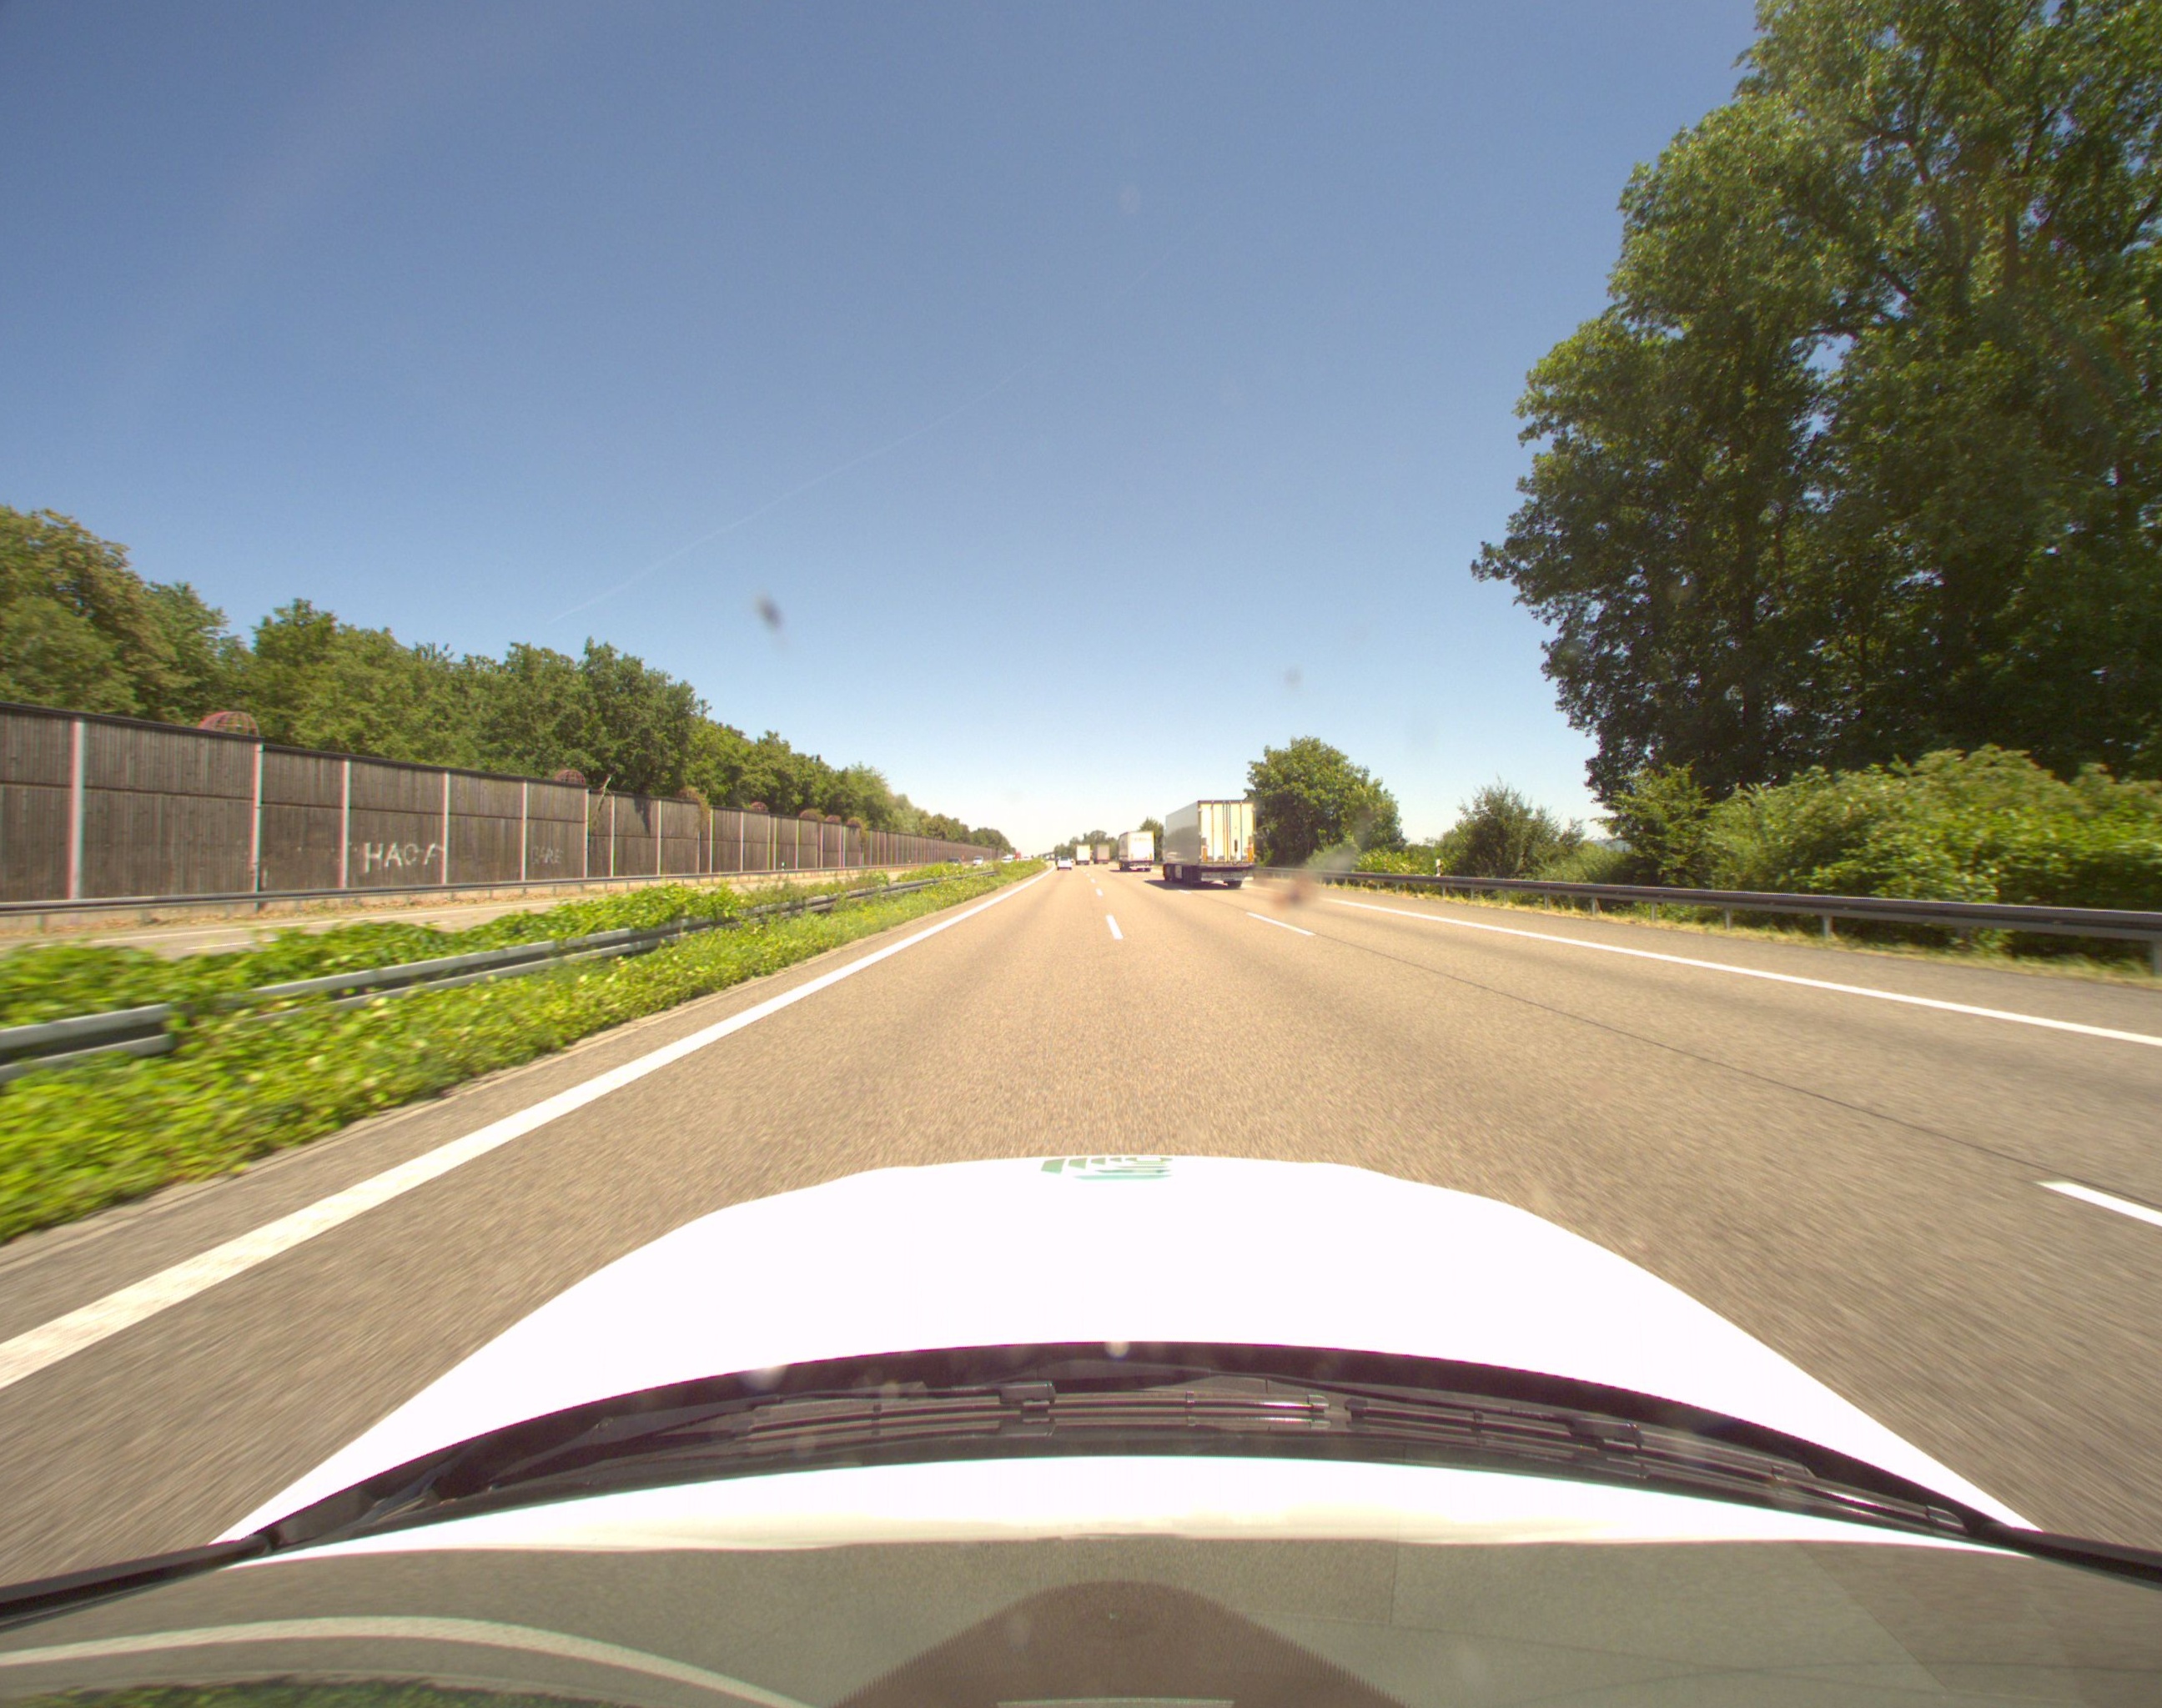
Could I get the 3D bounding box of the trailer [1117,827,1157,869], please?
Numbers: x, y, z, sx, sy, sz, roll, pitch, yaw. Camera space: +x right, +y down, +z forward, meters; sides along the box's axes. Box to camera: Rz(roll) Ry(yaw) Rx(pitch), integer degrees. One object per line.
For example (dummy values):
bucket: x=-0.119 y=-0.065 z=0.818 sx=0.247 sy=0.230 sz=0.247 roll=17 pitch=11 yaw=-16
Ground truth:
trailer: x=5.821 y=-0.503 z=87.272 sx=2.700 sy=4.088 sz=14.138 roll=0 pitch=0 yaw=-2

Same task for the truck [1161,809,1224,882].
truck: x=6.615 y=-0.484 z=49.231 sx=2.949 sy=4.106 sz=6.207 roll=-1 pitch=0 yaw=0

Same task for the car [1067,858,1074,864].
car: x=-2.778 y=1.869 z=223.591 sx=1.849 sy=1.617 sz=3.999 roll=-1 pitch=-1 yaw=0

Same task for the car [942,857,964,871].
car: x=-14.779 y=1.149 z=94.485 sx=1.989 sy=1.647 sz=4.688 roll=-1 pitch=0 yaw=-3

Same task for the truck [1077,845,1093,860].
truck: x=1.165 y=-0.399 z=252.783 sx=3.370 sy=4.304 sz=11.425 roll=3 pitch=-1 yaw=-6

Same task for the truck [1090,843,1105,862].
truck: x=3.706 y=-0.240 z=184.535 sx=2.686 sy=4.216 sz=7.825 roll=0 pitch=-1 yaw=-5

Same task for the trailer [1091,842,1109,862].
trailer: x=4.149 y=-0.300 z=178.868 sx=2.699 sy=4.216 sz=13.189 roll=0 pitch=-1 yaw=-4

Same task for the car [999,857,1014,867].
car: x=-11.932 y=1.292 z=130.340 sx=1.988 sy=1.647 sz=5.042 roll=-1 pitch=0 yaw=-2

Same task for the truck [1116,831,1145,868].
truck: x=5.617 y=-0.465 z=93.039 sx=2.700 sy=4.088 sz=6.959 roll=0 pitch=-1 yaw=-2

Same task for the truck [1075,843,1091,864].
truck: x=0.322 y=0.066 z=165.579 sx=2.699 sy=4.086 sz=13.464 roll=0 pitch=-1 yaw=-1

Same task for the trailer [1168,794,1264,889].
trailer: x=6.598 y=-0.519 z=41.975 sx=2.949 sy=4.106 sz=12.532 roll=-1 pitch=0 yaw=1

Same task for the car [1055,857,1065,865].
car: x=-4.161 y=1.456 z=163.534 sx=1.849 sy=1.617 sz=3.999 roll=-1 pitch=-1 yaw=0

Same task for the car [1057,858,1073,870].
car: x=-1.994 y=1.265 z=101.405 sx=1.849 sy=1.486 sz=3.999 roll=-1 pitch=0 yaw=0

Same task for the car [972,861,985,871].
car: x=-20.780 y=2.352 z=165.743 sx=1.987 sy=2.014 sz=5.383 roll=-1 pitch=0 yaw=0
